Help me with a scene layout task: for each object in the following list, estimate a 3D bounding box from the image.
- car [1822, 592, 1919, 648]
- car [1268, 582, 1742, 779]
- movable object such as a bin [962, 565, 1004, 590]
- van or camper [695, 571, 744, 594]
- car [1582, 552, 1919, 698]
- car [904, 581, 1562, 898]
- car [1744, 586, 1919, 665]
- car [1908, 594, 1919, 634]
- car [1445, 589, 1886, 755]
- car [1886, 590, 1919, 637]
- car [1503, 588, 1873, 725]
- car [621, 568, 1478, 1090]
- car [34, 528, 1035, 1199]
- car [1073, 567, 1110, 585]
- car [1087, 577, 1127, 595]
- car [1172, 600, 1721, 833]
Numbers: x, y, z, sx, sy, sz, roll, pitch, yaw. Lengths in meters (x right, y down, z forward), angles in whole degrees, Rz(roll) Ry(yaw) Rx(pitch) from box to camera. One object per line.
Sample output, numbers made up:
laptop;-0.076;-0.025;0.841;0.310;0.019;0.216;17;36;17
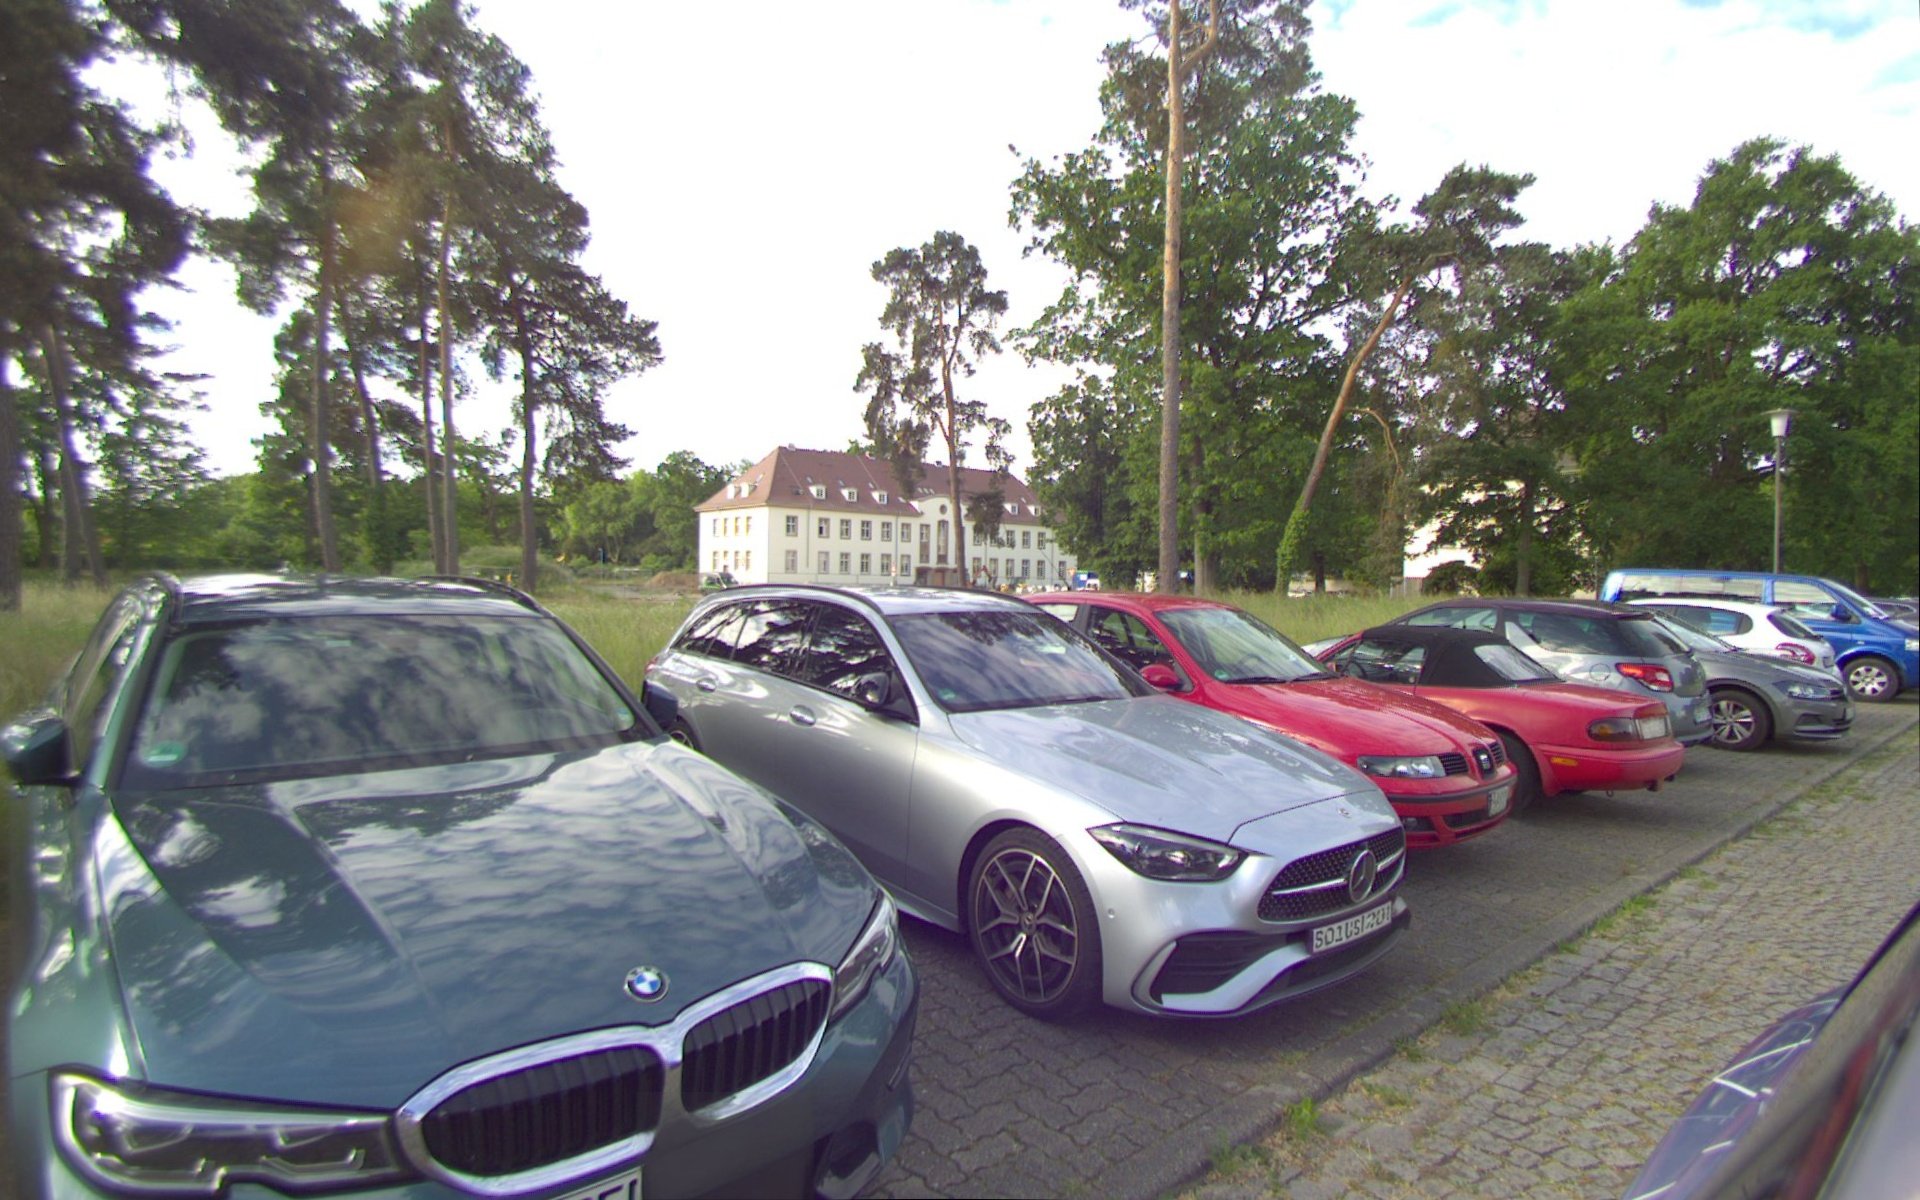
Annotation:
car;27.698;0.582;29.446;1.555;1.544;3.832;0;1;-43
car;5.197;0.620;10.065;1.576;1.522;3.836;0;1;-40
movable object such as a bin;2.749;-2.645;119.838;1.994;2.802;5.121;2;1;44
van or camper;-24.599;-1.819;103.355;6.063;2.251;1.969;2;1;43
car;13.683;0.302;17.115;2.023;2.047;4.955;0;3;-39
car;1.513;0.626;6.888;1.689;1.441;4.117;0;1;-39
car;20.110;0.537;22.662;1.555;1.621;3.832;0;1;-43
car;39.229;0.583;38.866;1.642;1.548;3.841;0;1;-35
car;7.757;0.659;11.438;1.613;1.484;3.782;0;1;-38
car;35.670;0.520;35.936;1.551;1.638;3.841;0;1;-35
car;9.631;0.631;13.647;1.552;1.517;3.762;0;1;-38
car;0.001;0.611;5.134;1.736;1.446;4.334;0;2;-41
car;-1.998;0.601;3.507;1.777;1.502;4.519;0;1;-42
car;15.688;-2.863;120.861;3.924;2.039;2.220;0;1;-35
car;14.841;-1.430;102.141;3.864;1.704;1.848;0;3;-38
car;3.588;0.716;7.961;1.579;1.303;3.555;1;1;-39
